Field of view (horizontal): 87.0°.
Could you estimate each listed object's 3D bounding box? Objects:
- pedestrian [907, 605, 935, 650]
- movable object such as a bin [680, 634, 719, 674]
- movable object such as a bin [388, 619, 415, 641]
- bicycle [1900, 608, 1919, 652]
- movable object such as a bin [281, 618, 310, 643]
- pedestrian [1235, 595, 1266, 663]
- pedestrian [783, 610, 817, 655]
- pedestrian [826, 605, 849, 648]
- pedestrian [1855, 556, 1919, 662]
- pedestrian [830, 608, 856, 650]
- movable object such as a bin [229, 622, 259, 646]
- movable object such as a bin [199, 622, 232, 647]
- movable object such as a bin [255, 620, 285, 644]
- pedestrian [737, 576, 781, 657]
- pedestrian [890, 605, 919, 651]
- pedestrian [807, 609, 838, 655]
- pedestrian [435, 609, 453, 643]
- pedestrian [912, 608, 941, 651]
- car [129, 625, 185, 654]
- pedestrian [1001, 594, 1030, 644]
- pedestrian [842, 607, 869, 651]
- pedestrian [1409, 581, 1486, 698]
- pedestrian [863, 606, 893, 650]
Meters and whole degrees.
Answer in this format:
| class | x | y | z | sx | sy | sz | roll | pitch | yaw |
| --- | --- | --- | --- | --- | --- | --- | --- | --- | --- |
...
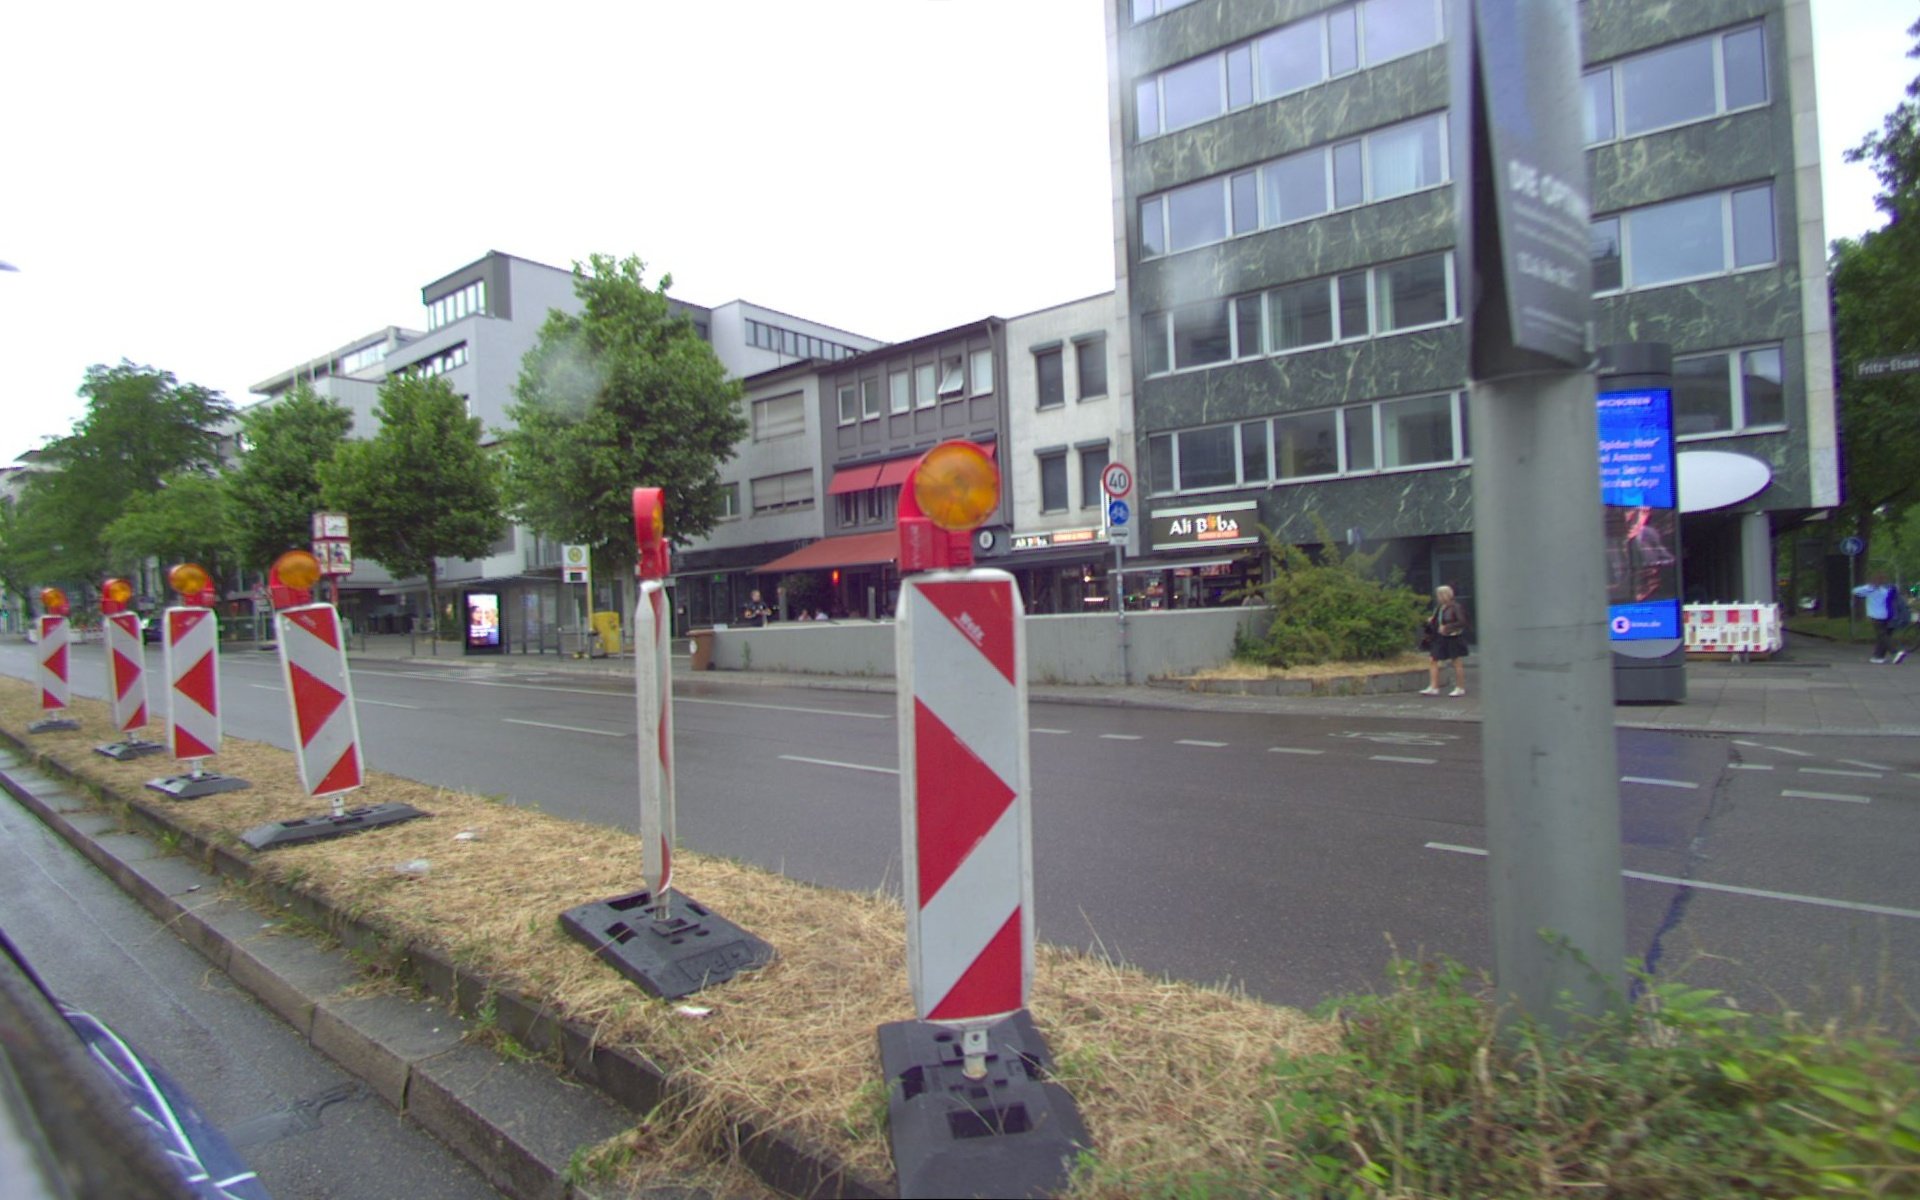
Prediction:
| class | x | y | z | sx | sy | sz | roll | pitch | yaw |
| --- | --- | --- | --- | --- | --- | --- | --- | --- | --- |
| pedestrian | -1.294 | 0.911 | 33.798 | 0.690 | 1.461 | 0.627 | -2 | -1 | 34 |
| movable object such as a bin | -5.996 | 1.237 | 23.296 | 0.680 | 0.904 | 0.527 | -2 | -3 | 32 |
| movable object such as a bin | -36.358 | 1.951 | 65.905 | 1.278 | 1.446 | 1.077 | -2 | -1 | 32 |
| bicycle | 21.137 | 0.628 | 21.377 | 0.468 | 0.941 | 1.803 | 0 | -1 | -39 |
| movable object such as a bin | -41.313 | 1.881 | 62.952 | 1.088 | 1.499 | 1.265 | -2 | -1 | 41 |
| pedestrian | 8.223 | 0.810 | 28.658 | 0.590 | 1.899 | 0.749 | -2 | -1 | 34 |
| pedestrian | -5.362 | 1.091 | 33.943 | 0.912 | 1.461 | 0.683 | -2 | -1 | 37 |
| pedestrian | -4.488 | 0.975 | 37.119 | 0.603 | 1.582 | 0.591 | -1 | -1 | 31 |
| pedestrian | 17.081 | 0.189 | 18.475 | 0.874 | 1.868 | 1.014 | -1 | -5 | 31 |
| pedestrian | -4.062 | 1.005 | 35.169 | 0.546 | 1.461 | 0.683 | -2 | -1 | 37 |
| movable object such as a bin | -43.040 | 2.037 | 60.854 | 1.088 | 1.437 | 1.265 | -2 | -1 | 41 |
| movable object such as a bin | -43.953 | 2.030 | 59.762 | 1.088 | 1.437 | 1.345 | -2 | -1 | 41 |
| movable object such as a bin | -42.203 | 1.956 | 61.898 | 1.088 | 1.437 | 1.265 | -2 | -1 | 41 |
| pedestrian | -4.836 | 0.395 | 24.339 | 0.757 | 1.899 | 0.683 | -2 | -1 | 37 |
| pedestrian | -1.821 | 0.906 | 33.077 | 0.690 | 1.461 | 0.627 | -2 | -1 | 34 |
| pedestrian | -4.532 | 1.053 | 33.326 | 0.706 | 1.461 | 0.683 | -2 | -1 | 37 |
| pedestrian | -27.731 | 1.400 | 54.380 | 0.653 | 1.776 | 0.688 | -2 | -1 | 43 |
| pedestrian | -1.075 | 0.943 | 32.625 | 0.690 | 1.354 | 0.627 | -2 | -1 | 34 |
| car | -48.008 | 2.377 | 60.473 | 4.019 | 1.648 | 1.761 | -3 | -2 | 38 |
| pedestrian | 1.644 | 0.547 | 29.830 | 0.587 | 1.461 | 0.597 | -2 | -1 | 36 |
| pedestrian | -3.594 | 0.993 | 34.727 | 0.582 | 1.461 | 0.683 | -2 | -1 | 38 |
| pedestrian | 7.230 | 0.571 | 15.009 | 0.745 | 1.665 | 0.693 | -1 | -1 | -32 |
| pedestrian | -2.754 | 0.934 | 34.104 | 0.690 | 1.461 | 0.720 | -2 | -1 | 34 |
